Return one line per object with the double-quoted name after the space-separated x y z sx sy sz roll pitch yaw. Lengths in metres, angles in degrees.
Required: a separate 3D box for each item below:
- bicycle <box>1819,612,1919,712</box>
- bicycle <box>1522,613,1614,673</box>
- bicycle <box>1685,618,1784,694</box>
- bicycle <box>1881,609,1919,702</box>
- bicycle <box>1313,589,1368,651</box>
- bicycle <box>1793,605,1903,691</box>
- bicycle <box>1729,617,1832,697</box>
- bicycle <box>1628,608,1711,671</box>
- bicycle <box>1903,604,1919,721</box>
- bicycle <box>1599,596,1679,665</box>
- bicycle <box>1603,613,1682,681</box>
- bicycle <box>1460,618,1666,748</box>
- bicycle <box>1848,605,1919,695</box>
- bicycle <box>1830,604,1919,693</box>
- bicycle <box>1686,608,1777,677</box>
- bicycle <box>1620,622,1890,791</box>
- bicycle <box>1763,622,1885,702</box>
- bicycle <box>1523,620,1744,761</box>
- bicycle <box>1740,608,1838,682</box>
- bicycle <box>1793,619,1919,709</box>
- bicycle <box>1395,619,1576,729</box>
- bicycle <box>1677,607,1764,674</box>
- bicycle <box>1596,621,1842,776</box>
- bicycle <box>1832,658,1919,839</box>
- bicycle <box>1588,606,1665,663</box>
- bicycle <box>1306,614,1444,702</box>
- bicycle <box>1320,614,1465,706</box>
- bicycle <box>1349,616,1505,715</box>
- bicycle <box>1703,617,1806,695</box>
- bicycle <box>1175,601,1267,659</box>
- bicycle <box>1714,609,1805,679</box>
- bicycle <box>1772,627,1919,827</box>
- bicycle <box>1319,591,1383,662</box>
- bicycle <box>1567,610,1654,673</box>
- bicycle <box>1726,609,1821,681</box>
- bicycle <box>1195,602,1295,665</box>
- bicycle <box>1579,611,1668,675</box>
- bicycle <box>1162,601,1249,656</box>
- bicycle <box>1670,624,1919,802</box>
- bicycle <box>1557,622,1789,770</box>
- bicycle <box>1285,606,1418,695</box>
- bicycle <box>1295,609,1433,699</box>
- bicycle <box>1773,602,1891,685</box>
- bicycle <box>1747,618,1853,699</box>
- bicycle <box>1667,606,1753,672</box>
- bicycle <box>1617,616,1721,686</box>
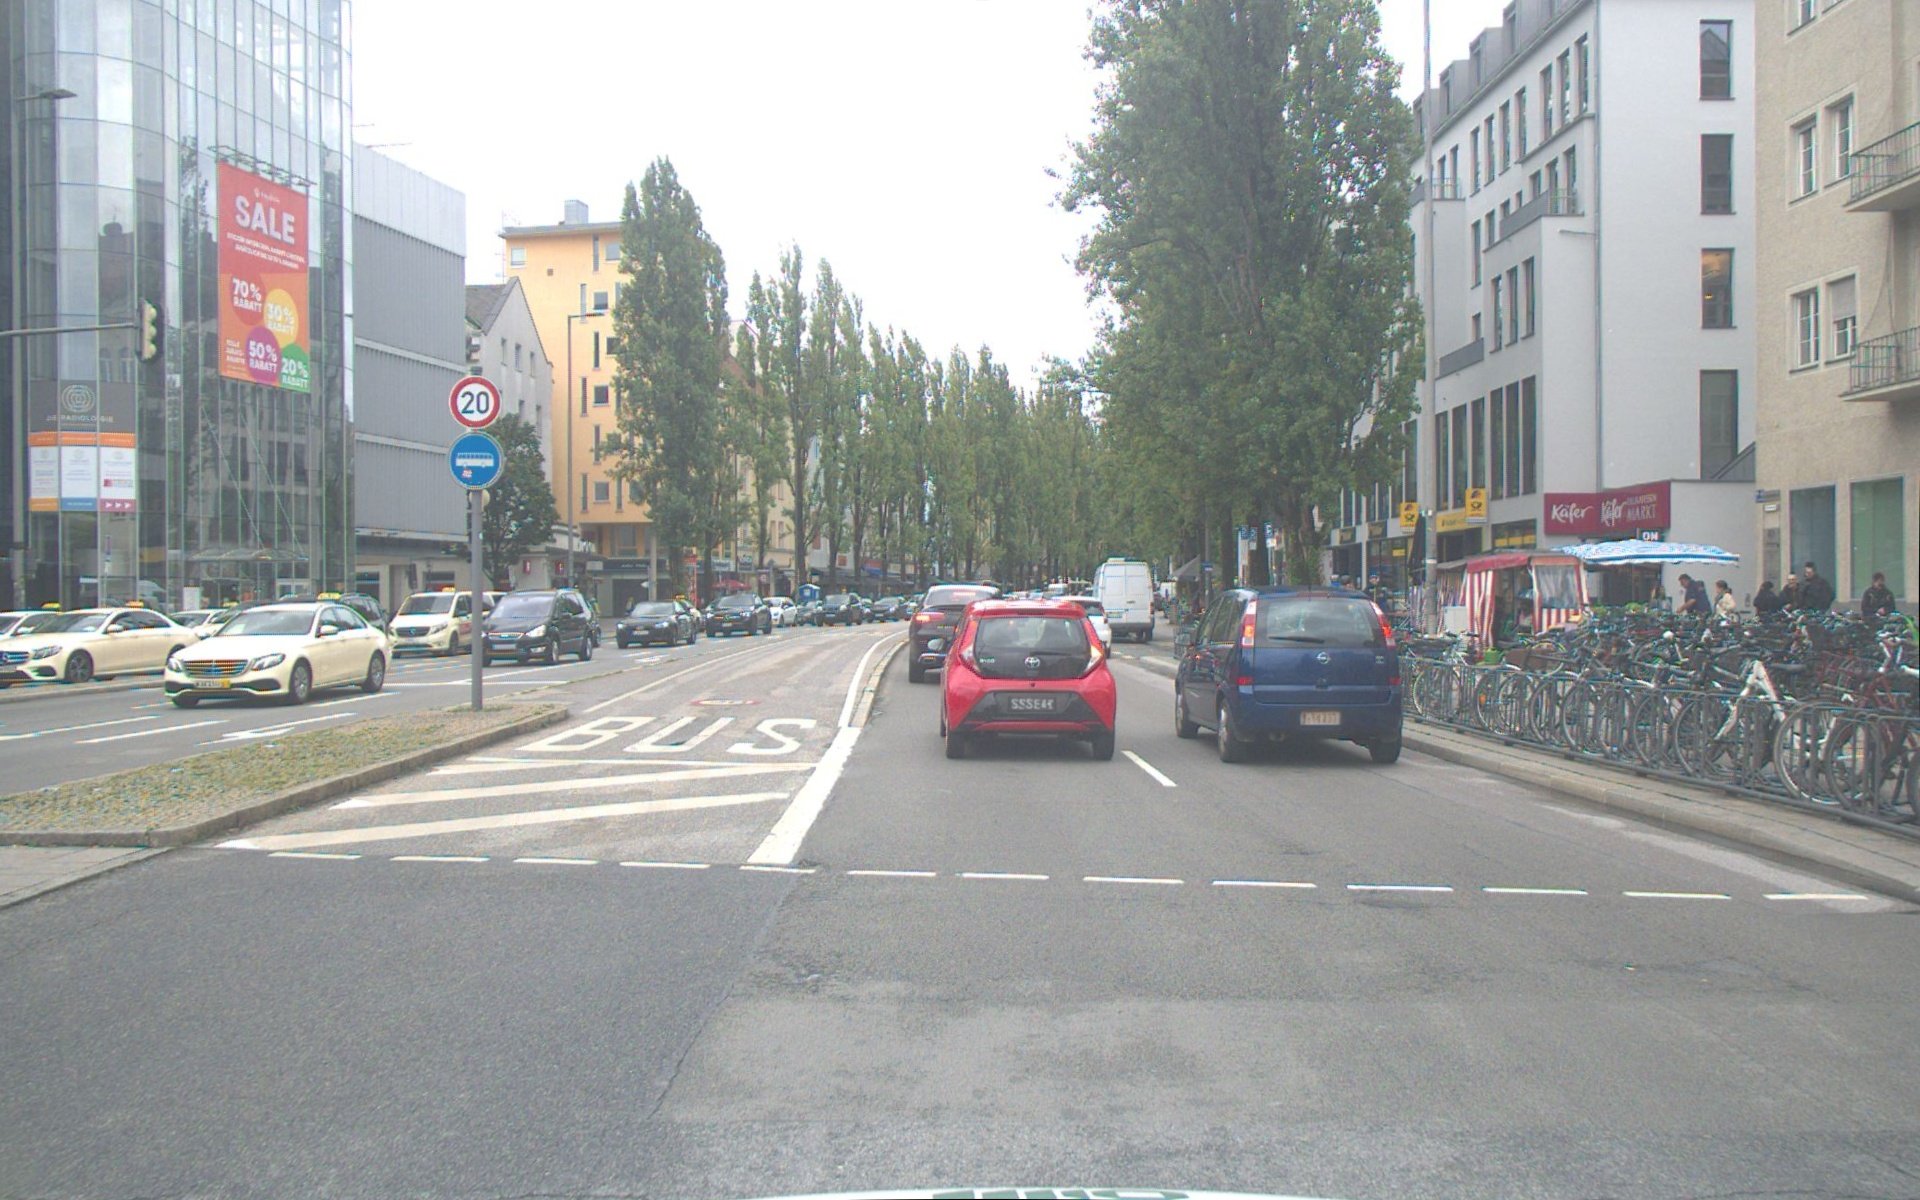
10.543 0.692 18.777 1.389 1.096 0.369 -1 0 0 "bicycle"
10.324 0.733 28.097 1.401 0.980 0.369 -1 0 5 "bicycle"
10.440 0.749 22.302 1.157 0.980 0.369 -1 0 -3 "bicycle"
11.995 0.659 20.150 1.399 1.094 0.369 -1 0 -7 "bicycle"
8.239 0.411 35.928 0.601 1.287 2.519 -1 1 0 "bicycle"
11.730 0.632 21.854 1.303 1.094 0.369 -1 0 -7 "bicycle"
10.466 0.726 21.109 1.110 0.980 0.369 -1 0 5 "bicycle"
11.706 0.652 27.292 1.219 0.998 0.369 -1 0 -3 "bicycle"
10.346 0.644 17.718 0.361 1.161 1.719 -1 0 31 "bicycle"
11.686 0.516 28.480 1.219 1.160 0.369 -1 0 -3 "bicycle"
10.447 0.711 25.321 1.208 0.980 0.367 -1 0 -23 "bicycle"
5.830 0.777 16.023 1.768 1.178 0.650 0 0 35 "bicycle"
11.913 0.620 20.742 1.399 1.094 0.369 -1 0 -7 "bicycle"
11.931 0.617 21.307 1.303 1.094 0.369 -1 0 -7 "bicycle"
11.658 0.636 24.993 1.219 0.998 0.369 -1 0 -4 "bicycle"
5.996 0.768 12.522 1.769 1.178 0.546 0 0 38 "bicycle"
10.406 0.743 19.936 1.266 0.931 0.369 -1 0 0 "bicycle"
5.951 0.776 14.647 1.765 1.178 0.486 0 0 30 "bicycle"
11.609 0.624 23.161 1.220 0.998 0.369 -1 0 -7 "bicycle"
10.457 0.740 19.281 1.287 1.017 0.369 -1 0 0 "bicycle"
5.732 0.786 18.083 1.769 1.130 0.649 0 0 37 "bicycle"
11.773 0.616 25.613 1.221 0.998 0.368 -1 0 -10 "bicycle"
6.090 0.766 13.334 1.763 1.178 0.486 0 0 26 "bicycle"
6.093 0.897 9.788 0.495 1.046 1.576 -1 1 -42 "bicycle"
11.759 0.604 29.184 1.219 0.980 0.369 -1 0 -3 "bicycle"
5.567 0.758 22.249 1.773 1.130 0.488 0 0 42 "bicycle"
5.628 0.763 21.585 1.773 1.130 0.583 0 1 42 "bicycle"
5.673 0.773 20.158 1.772 1.130 0.559 0 0 41 "bicycle"
10.451 0.734 21.759 1.156 0.980 0.369 -1 0 3 "bicycle"
5.398 0.615 34.250 1.801 1.156 0.584 0 0 36 "bicycle"
11.766 0.641 24.345 1.221 0.998 0.368 -1 0 -10 "bicycle"
6.164 0.797 10.449 1.773 1.219 0.555 0 0 43 "bicycle"
7.431 0.475 31.532 0.601 1.287 2.519 -1 1 0 "bicycle"
10.459 0.669 26.609 1.235 0.980 0.369 -1 0 2 "bicycle"
11.688 0.643 23.776 1.220 0.998 0.369 -1 0 -7 "bicycle"
5.424 0.632 31.520 1.801 1.156 0.584 0 0 36 "bicycle"
10.470 0.677 26.126 1.234 0.980 0.369 -1 0 9 "bicycle"
5.297 0.604 35.715 1.801 1.156 0.584 0 0 36 "bicycle"
6.092 0.774 11.841 1.769 1.178 0.546 0 0 38 "bicycle"
6.016 0.783 13.993 1.765 1.178 0.486 0 0 29 "bicycle"
5.596 0.700 23.695 1.805 1.218 0.583 0 0 42 "bicycle"
5.578 0.723 22.913 1.805 1.188 0.583 0 0 42 "bicycle"
11.879 0.584 22.542 1.472 1.094 0.369 -1 0 -7 "bicycle"
10.487 0.729 20.670 1.110 0.980 0.369 -1 0 5 "bicycle"
11.838 0.615 26.115 1.221 0.998 0.368 -1 0 -10 "bicycle"
10.328 0.737 24.100 1.375 0.980 0.369 -1 0 -6 "bicycle"
